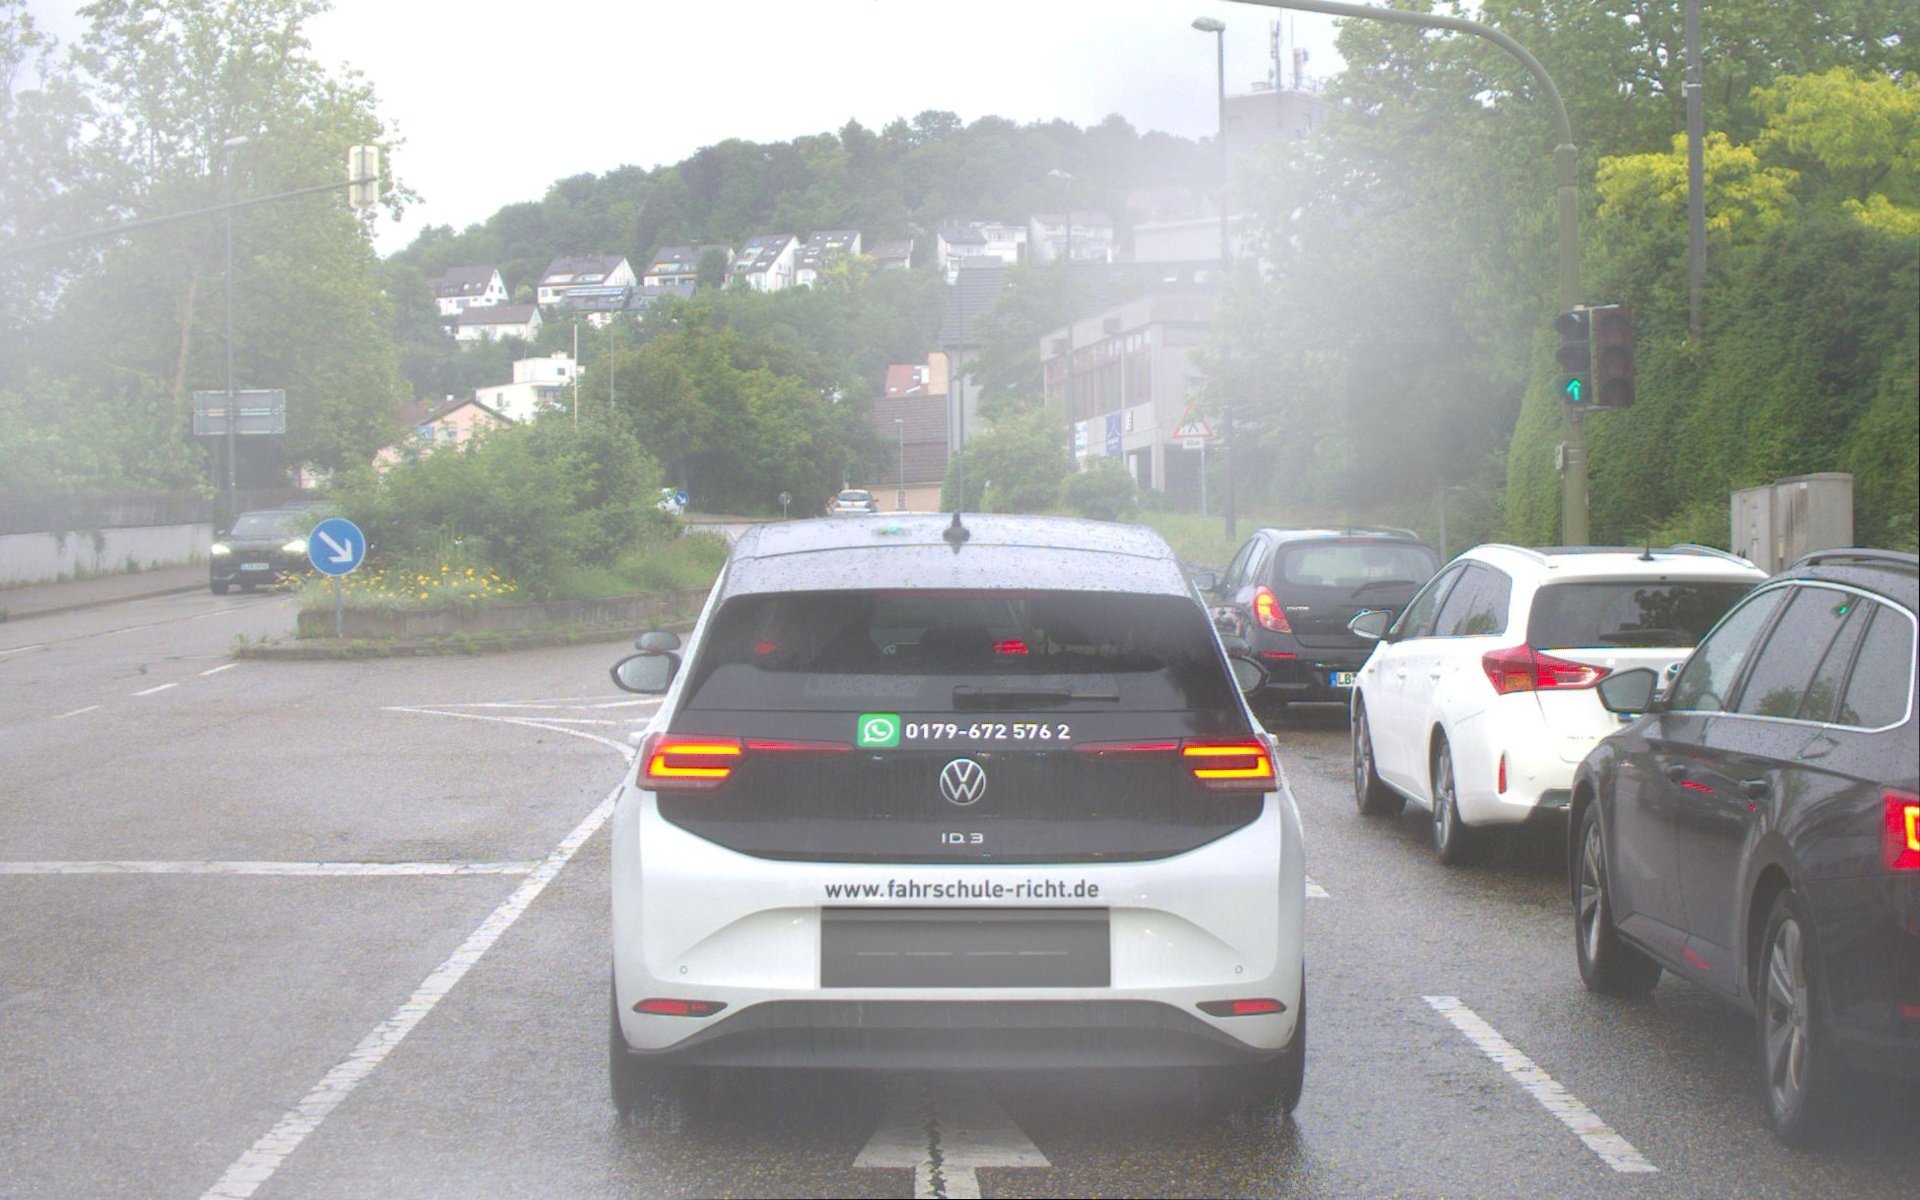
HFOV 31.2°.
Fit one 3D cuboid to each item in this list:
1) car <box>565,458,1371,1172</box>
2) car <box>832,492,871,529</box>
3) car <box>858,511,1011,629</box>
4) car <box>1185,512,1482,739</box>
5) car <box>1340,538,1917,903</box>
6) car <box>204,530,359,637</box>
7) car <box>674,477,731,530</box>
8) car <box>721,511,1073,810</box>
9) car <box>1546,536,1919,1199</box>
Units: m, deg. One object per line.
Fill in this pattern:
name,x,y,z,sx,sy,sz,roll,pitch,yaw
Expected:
car,-0.030,0.446,10.292,1.837,1.623,4.616,1,1,-1
car,-4.519,-3.727,144.046,1.581,1.462,4.000,-1,1,-1
car,-0.352,-0.415,43.702,1.837,1.395,3.831,1,1,-1
car,2.770,0.154,26.287,1.775,1.576,4.000,1,1,0
car,3.020,0.467,16.408,1.837,1.461,4.117,1,1,-1
car,-12.403,-0.323,63.095,1.993,1.798,4.000,-3,1,0
car,-10.485,-3.928,140.180,1.993,2.007,4.000,1,0,0
car,-0.378,0.272,20.369,1.837,1.549,4.175,1,1,-1
car,2.897,0.587,9.499,1.838,1.461,4.350,1,1,1
